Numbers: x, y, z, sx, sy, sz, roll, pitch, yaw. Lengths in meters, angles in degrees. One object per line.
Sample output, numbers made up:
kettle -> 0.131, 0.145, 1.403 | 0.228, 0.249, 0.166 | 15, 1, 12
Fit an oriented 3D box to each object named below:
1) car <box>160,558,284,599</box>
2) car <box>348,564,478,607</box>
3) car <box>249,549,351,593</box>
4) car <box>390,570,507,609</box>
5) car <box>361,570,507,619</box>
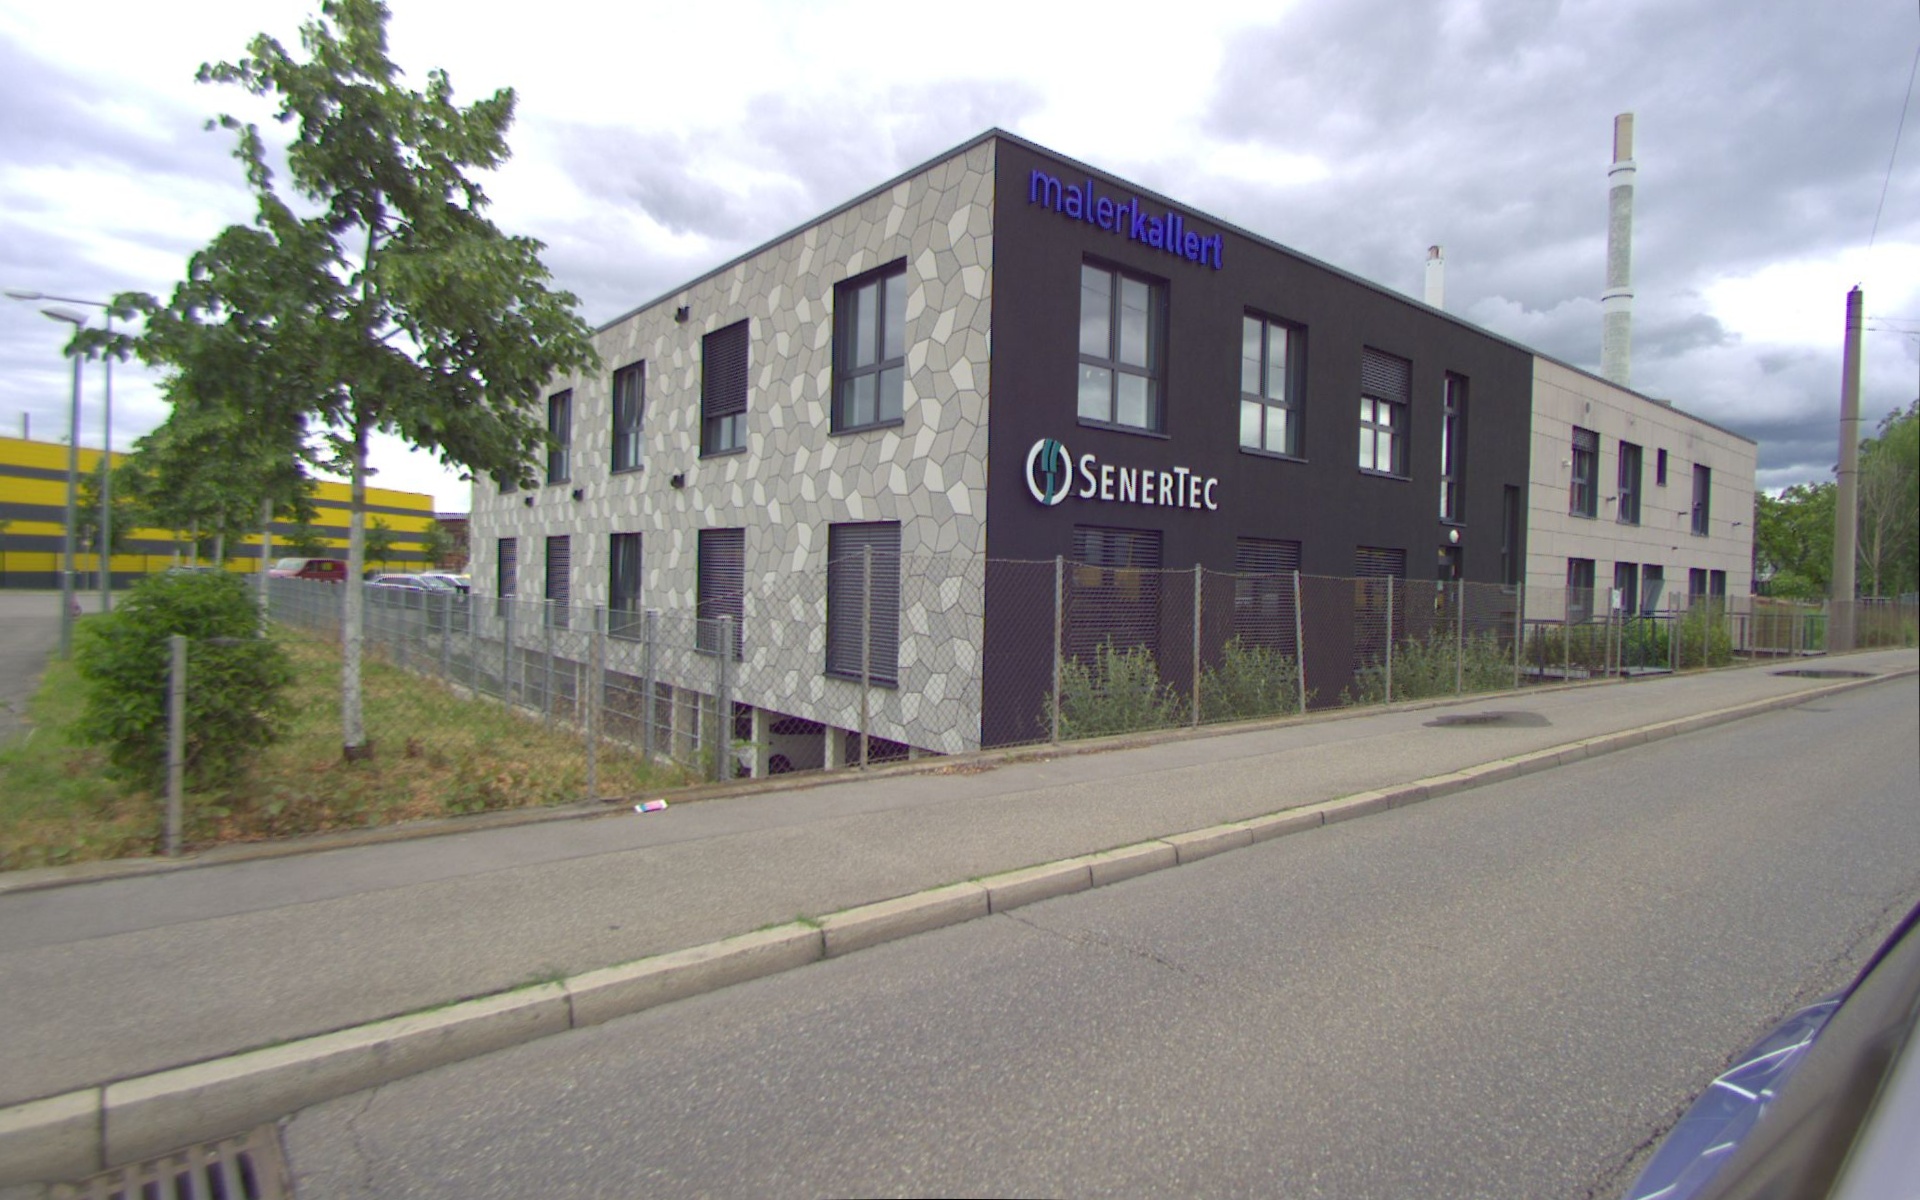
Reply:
car -> -34.270, -0.948, 47.133 | 1.972, 1.713, 4.356 | 3, 1, 15
car -> -22.635, -0.602, 41.974 | 4.293, 1.604, 2.000 | 2, 1, 0
car -> -34.729, -1.470, 53.387 | 1.971, 2.148, 4.356 | -1, 0, 15
car -> -23.106, -0.502, 45.842 | 4.293, 1.604, 2.000 | 2, 1, 0
car -> -19.156, -0.213, 37.011 | 4.293, 1.604, 2.000 | 2, 1, 0
